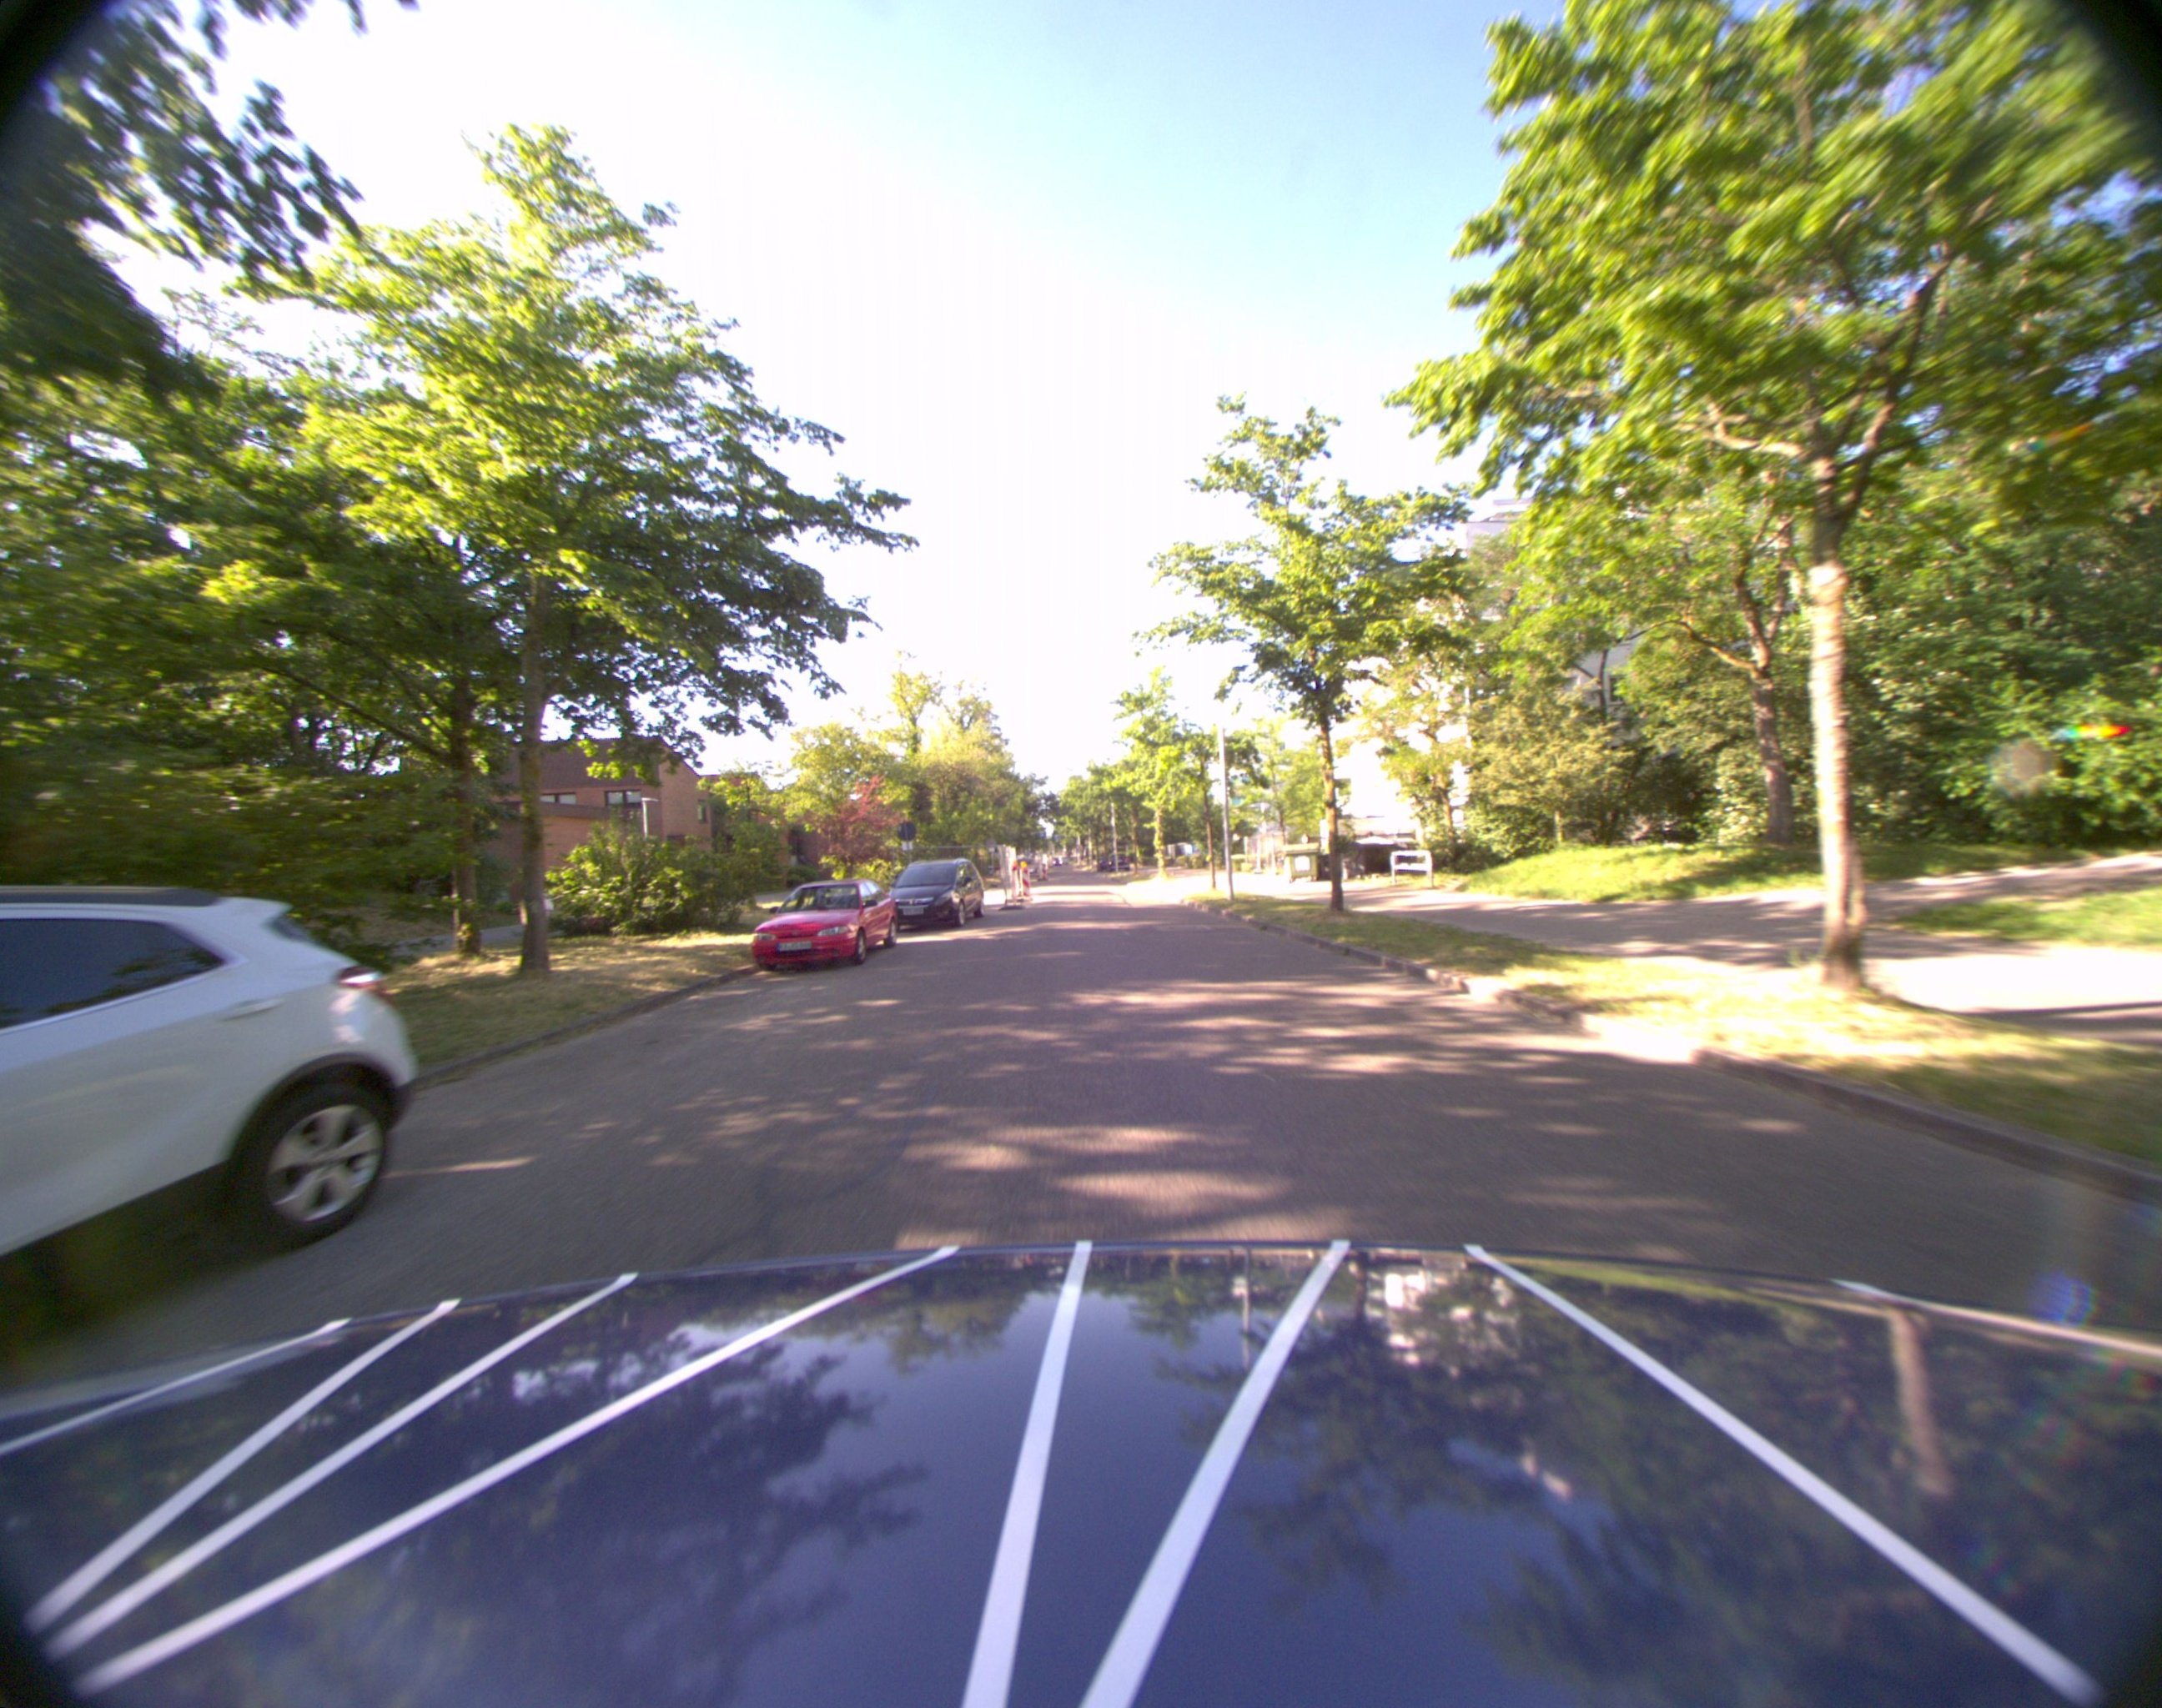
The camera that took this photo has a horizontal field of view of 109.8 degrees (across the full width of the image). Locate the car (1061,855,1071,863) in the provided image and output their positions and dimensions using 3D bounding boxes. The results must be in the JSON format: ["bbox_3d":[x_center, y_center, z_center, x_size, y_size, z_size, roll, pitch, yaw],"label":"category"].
[{"bbox_3d":[-2.911,0.969,148.012,1.664,1.587,4.006,-1,0,-5],"label":"car"}]

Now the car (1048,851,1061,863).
[{"bbox_3d":[-4.249,0.432,121.795,1.999,1.871,3.999,-1,1,-1],"label":"car"}]

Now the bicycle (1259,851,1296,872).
[{"bbox_3d":[10.274,0.387,39.721,1.862,1.021,0.400,-3,1,-14],"label":"bicycle"}]

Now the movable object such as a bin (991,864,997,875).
[{"bbox_3d":[-7.166,1.261,62.620,0.485,0.856,0.559,-3,1,-4],"label":"movable object such as a bin"}]

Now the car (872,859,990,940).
[{"bbox_3d":[-3.646,1.037,19.311,1.814,1.641,4.421,-4,0,3],"label":"car"}]

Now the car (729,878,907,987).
[{"bbox_3d":[-4.381,1.235,13.370,1.666,1.367,4.154,-4,0,-1],"label":"car"}]

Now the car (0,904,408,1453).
[{"bbox_3d":[-4.275,1.120,1.773,1.780,1.612,4.063,-4,0,-2],"label":"car"}]

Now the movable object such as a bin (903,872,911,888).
[{"bbox_3d":[-9.974,1.488,43.537,0.426,0.877,0.524,-1,1,-13],"label":"movable object such as a bin"}]

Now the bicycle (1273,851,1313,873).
[{"bbox_3d":[10.568,0.396,37.895,1.921,1.021,0.400,-3,1,-14],"label":"bicycle"}]

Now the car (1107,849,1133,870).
[{"bbox_3d":[3.334,0.477,65.893,1.780,1.612,4.220,-4,0,-1],"label":"car"}]

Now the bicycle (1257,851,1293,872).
[{"bbox_3d":[10.390,0.394,40.665,1.876,1.021,0.400,-3,1,-14],"label":"bicycle"}]

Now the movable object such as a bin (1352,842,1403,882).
[{"bbox_3d":[10.869,0.296,27.893,1.147,1.427,1.270,-3,1,-35],"label":"movable object such as a bin"}]

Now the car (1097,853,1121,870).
[{"bbox_3d":[2.666,0.707,72.324,1.721,1.424,4.135,-4,0,-5],"label":"car"}]

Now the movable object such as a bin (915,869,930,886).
[{"bbox_3d":[-9.147,1.351,43.769,0.696,0.923,0.695,-1,1,-1],"label":"movable object such as a bin"}]

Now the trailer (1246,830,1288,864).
[{"bbox_3d":[12.637,-0.486,51.862,1.868,2.108,4.346,-4,0,2],"label":"trailer"}]

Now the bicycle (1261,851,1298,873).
[{"bbox_3d":[10.257,0.394,39.247,1.845,1.021,0.400,-3,1,-14],"label":"bicycle"}]

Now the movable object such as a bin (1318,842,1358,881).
[{"bbox_3d":[10.123,0.288,29.926,1.270,1.427,1.328,-2,0,27],"label":"movable object such as a bin"}]

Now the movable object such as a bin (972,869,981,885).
[{"bbox_3d":[-6.021,1.335,43.838,0.414,0.865,0.484,-1,1,-1],"label":"movable object such as a bin"}]

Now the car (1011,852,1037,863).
[{"bbox_3d":[-11.658,0.715,155.670,5.270,1.993,1.999,-2,0,-3],"label":"car"}]

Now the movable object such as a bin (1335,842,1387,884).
[{"bbox_3d":[9.974,0.315,27.071,1.147,1.427,1.270,-3,1,-35],"label":"movable object such as a bin"}]

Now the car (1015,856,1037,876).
[{"bbox_3d":[-4.886,1.008,67.583,1.683,1.612,4.136,-4,0,-2],"label":"car"}]

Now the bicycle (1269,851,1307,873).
[{"bbox_3d":[10.461,0.394,38.357,1.844,1.021,0.400,-3,1,-14],"label":"bicycle"}]

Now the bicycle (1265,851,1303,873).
[{"bbox_3d":[10.377,0.396,38.778,1.866,1.021,0.400,-3,1,-14],"label":"bicycle"}]

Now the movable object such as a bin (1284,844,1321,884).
[{"bbox_3d":[8.354,0.365,28.753,1.271,1.427,1.183,-2,0,15],"label":"movable object such as a bin"}]
